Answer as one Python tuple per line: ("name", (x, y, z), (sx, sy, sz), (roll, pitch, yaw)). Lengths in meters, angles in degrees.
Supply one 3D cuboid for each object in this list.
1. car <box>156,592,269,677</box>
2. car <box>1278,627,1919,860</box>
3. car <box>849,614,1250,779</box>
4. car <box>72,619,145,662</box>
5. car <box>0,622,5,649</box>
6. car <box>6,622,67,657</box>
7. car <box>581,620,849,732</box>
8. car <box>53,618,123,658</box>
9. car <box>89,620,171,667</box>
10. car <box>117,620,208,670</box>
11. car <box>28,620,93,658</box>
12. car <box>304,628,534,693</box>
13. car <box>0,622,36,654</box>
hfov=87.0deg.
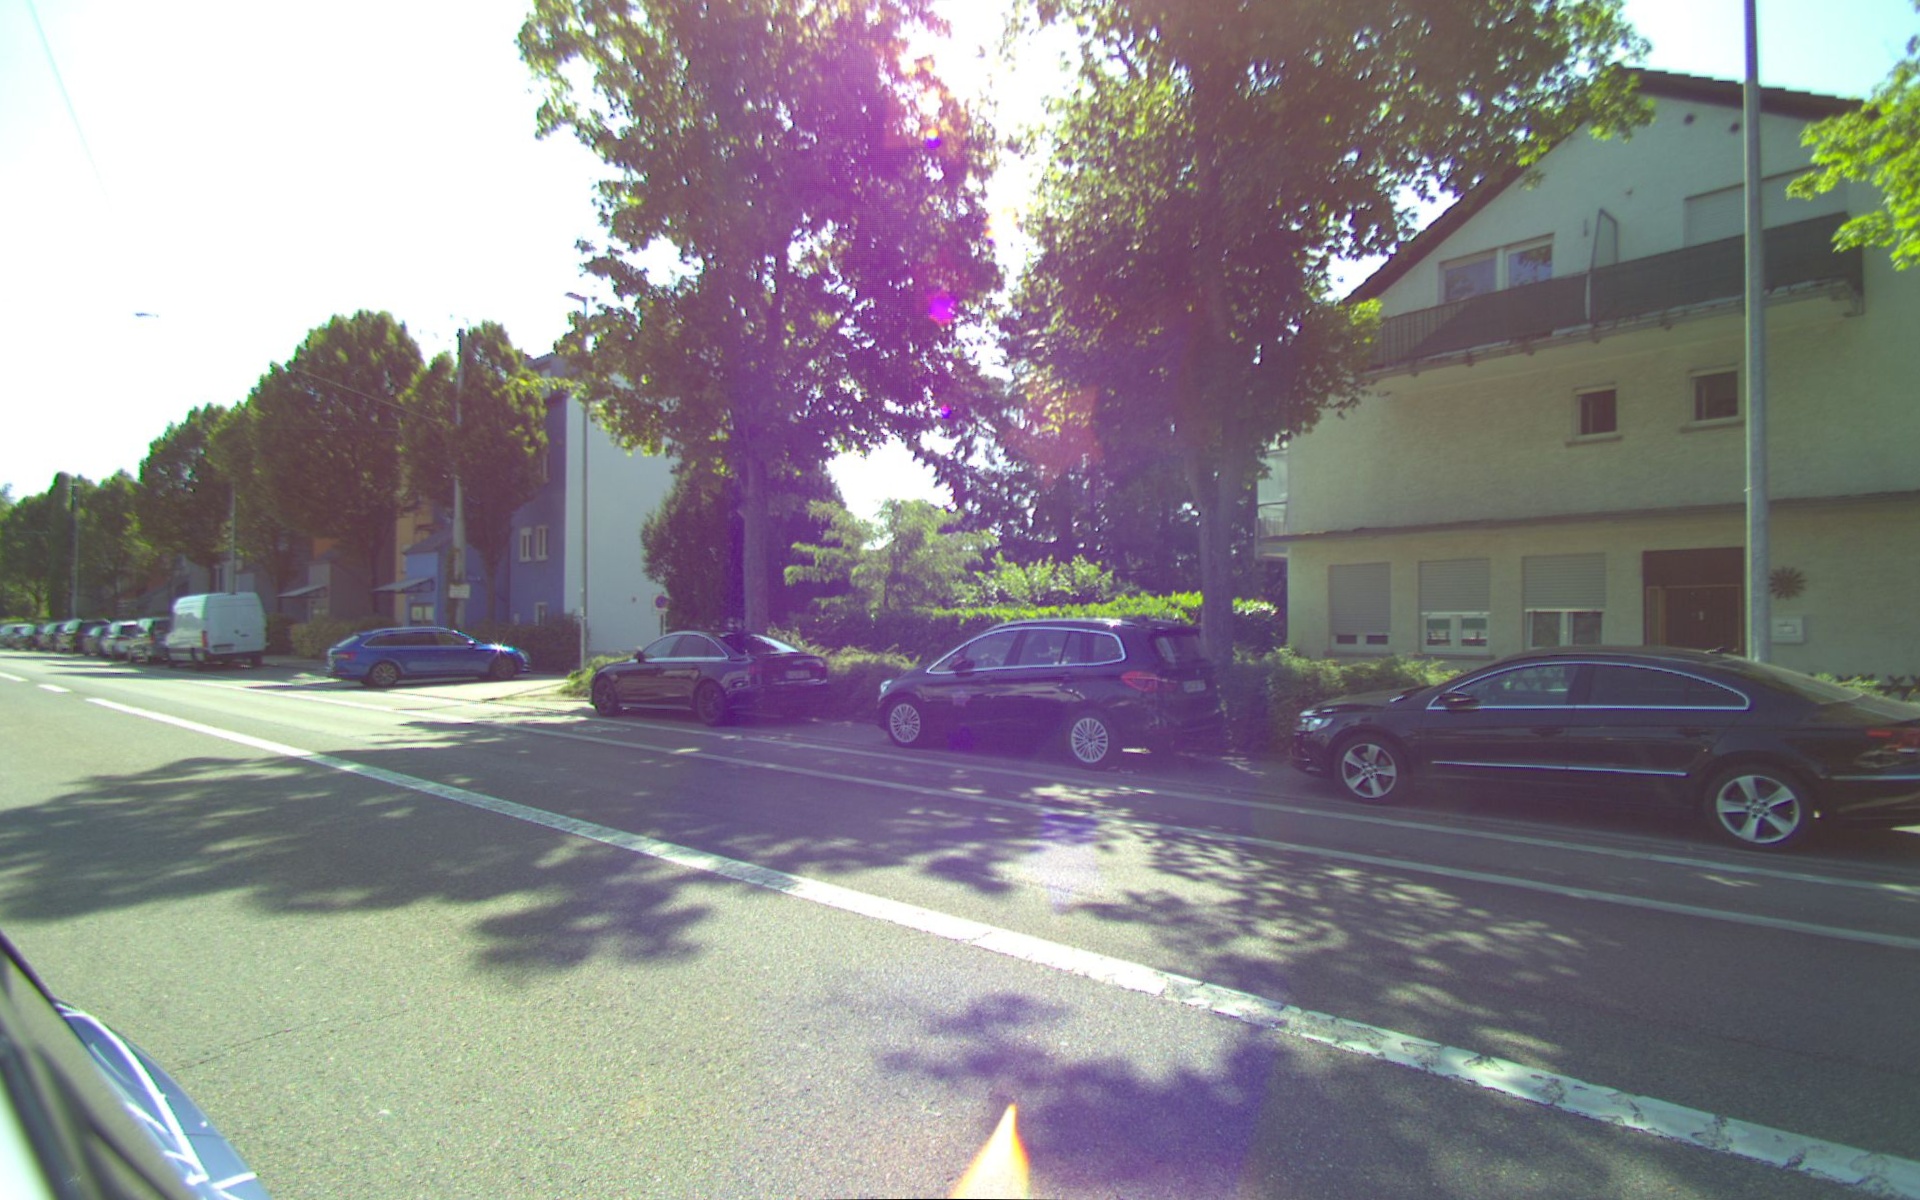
("car", (-27.333, 1.228, 36.923), (6.213, 2.713, 1.973), (-1, 4, 43))
("car", (5.264, 0.969, 8.458), (4.619, 1.426, 1.844), (-1, 0, 41))
("car", (0.923, 1.004, 12.243), (4.619, 1.583, 1.844), (-1, 0, 41))
("car", (-42.121, 1.977, 50.008), (4.254, 1.818, 1.974), (-2, 4, 41))
("car", (-68.839, 2.573, 71.093), (4.766, 1.818, 1.974), (-2, 4, 41))
("car", (-54.902, 2.340, 60.116), (4.766, 1.818, 1.974), (-2, 4, 41))
("car", (-4.090, 1.132, 16.512), (4.616, 1.583, 1.845), (-1, -2, 39))
("car", (-45.798, 1.975, 53.109), (4.766, 1.818, 1.974), (-2, 4, 41))
("car", (-38.048, 1.958, 46.335), (4.766, 1.818, 1.974), (-2, 4, 41))
("car", (-33.469, 1.844, 42.429), (4.766, 1.818, 1.974), (-2, 4, 41))
("car", (-50.307, 2.170, 56.596), (4.766, 1.818, 1.974), (-2, 4, 41))
("car", (-13.944, 1.502, 26.274), (4.995, 1.441, 1.894), (0, -1, -40))
("car", (-60.331, 2.417, 64.130), (4.766, 1.818, 1.974), (-2, 4, 41))
